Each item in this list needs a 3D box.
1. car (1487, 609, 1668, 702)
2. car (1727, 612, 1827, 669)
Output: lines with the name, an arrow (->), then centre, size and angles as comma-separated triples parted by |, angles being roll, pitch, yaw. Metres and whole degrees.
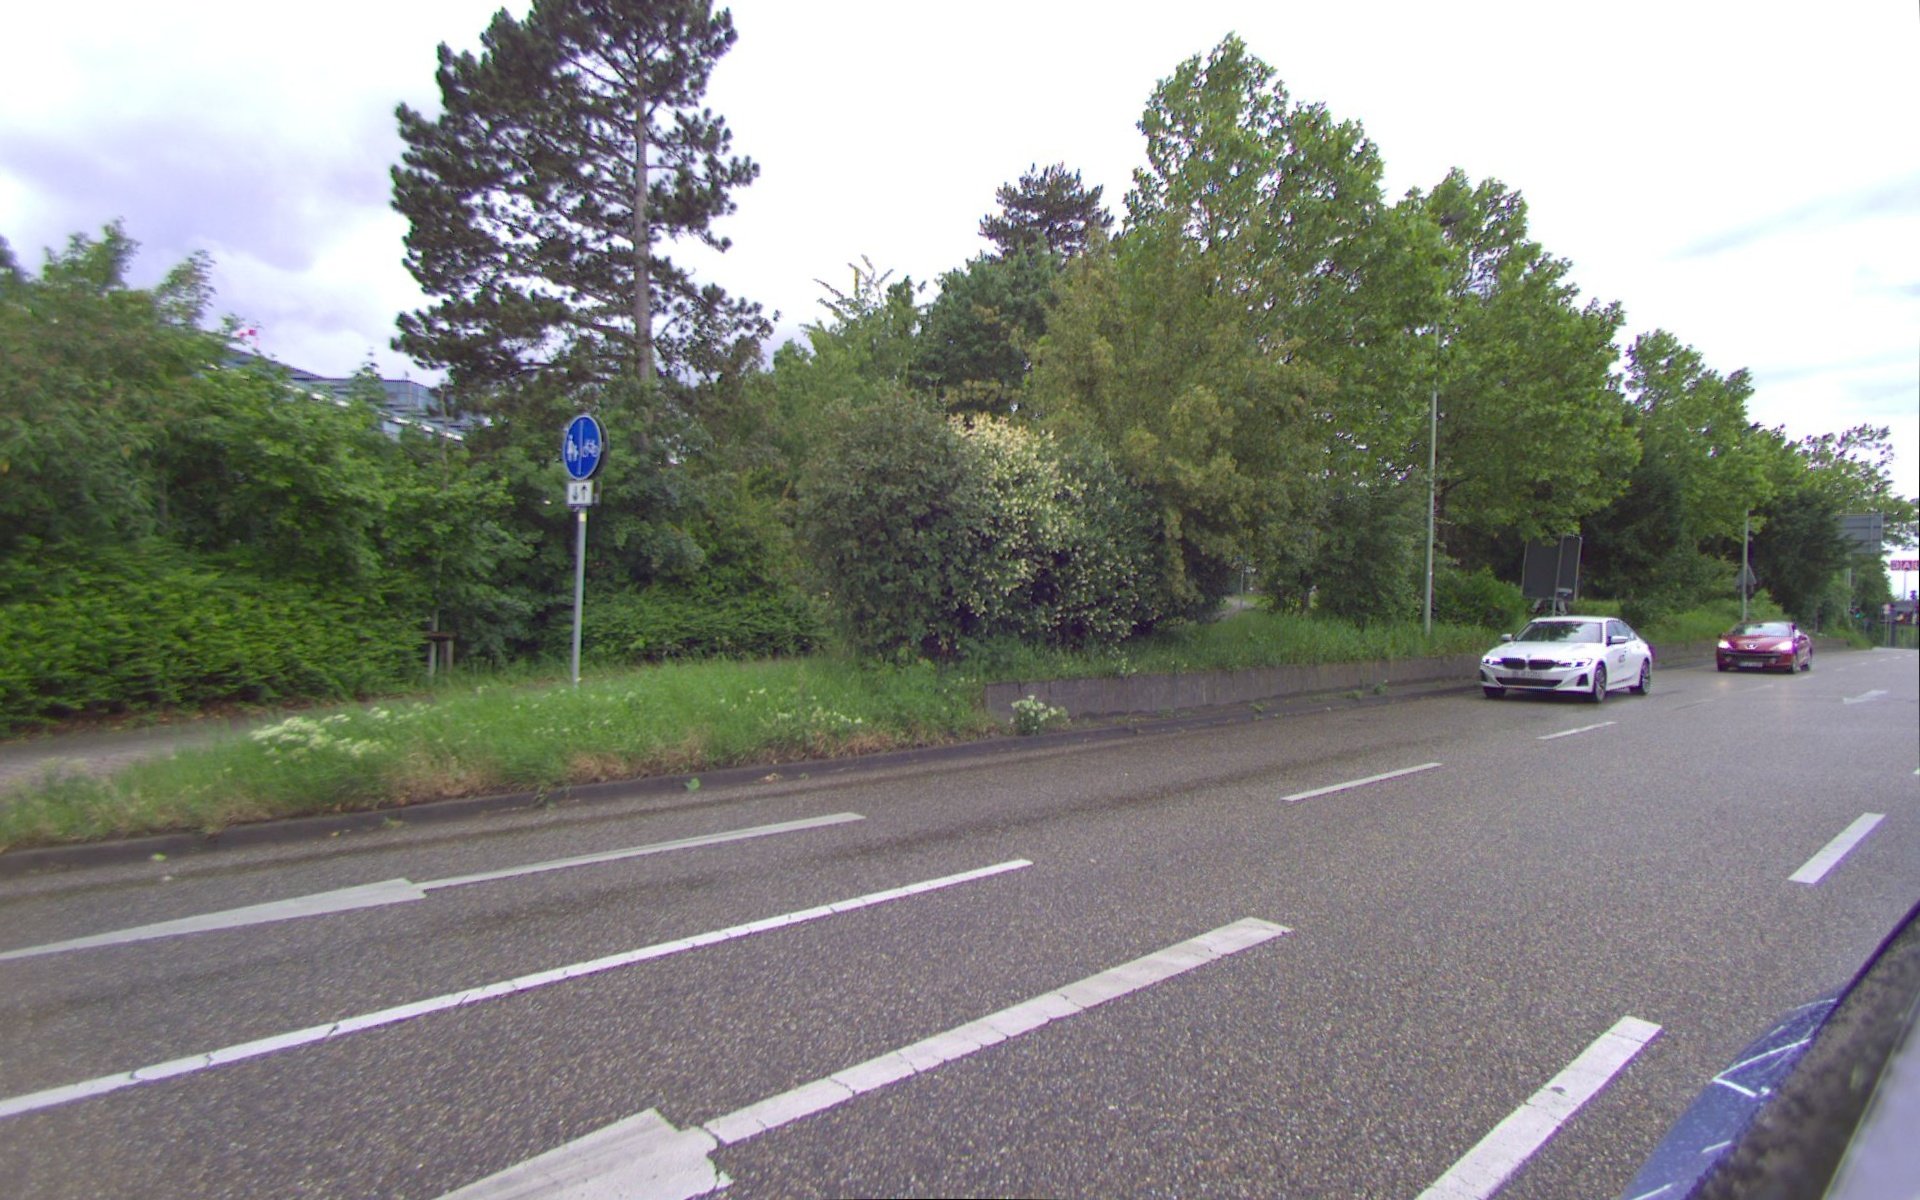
car -> 11.254, 0.906, 18.328 | 4.231, 1.445, 1.667 | 0, 0, -42
car -> 22.549, 1.066, 27.895 | 3.626, 1.421, 1.627 | 0, 0, -43
